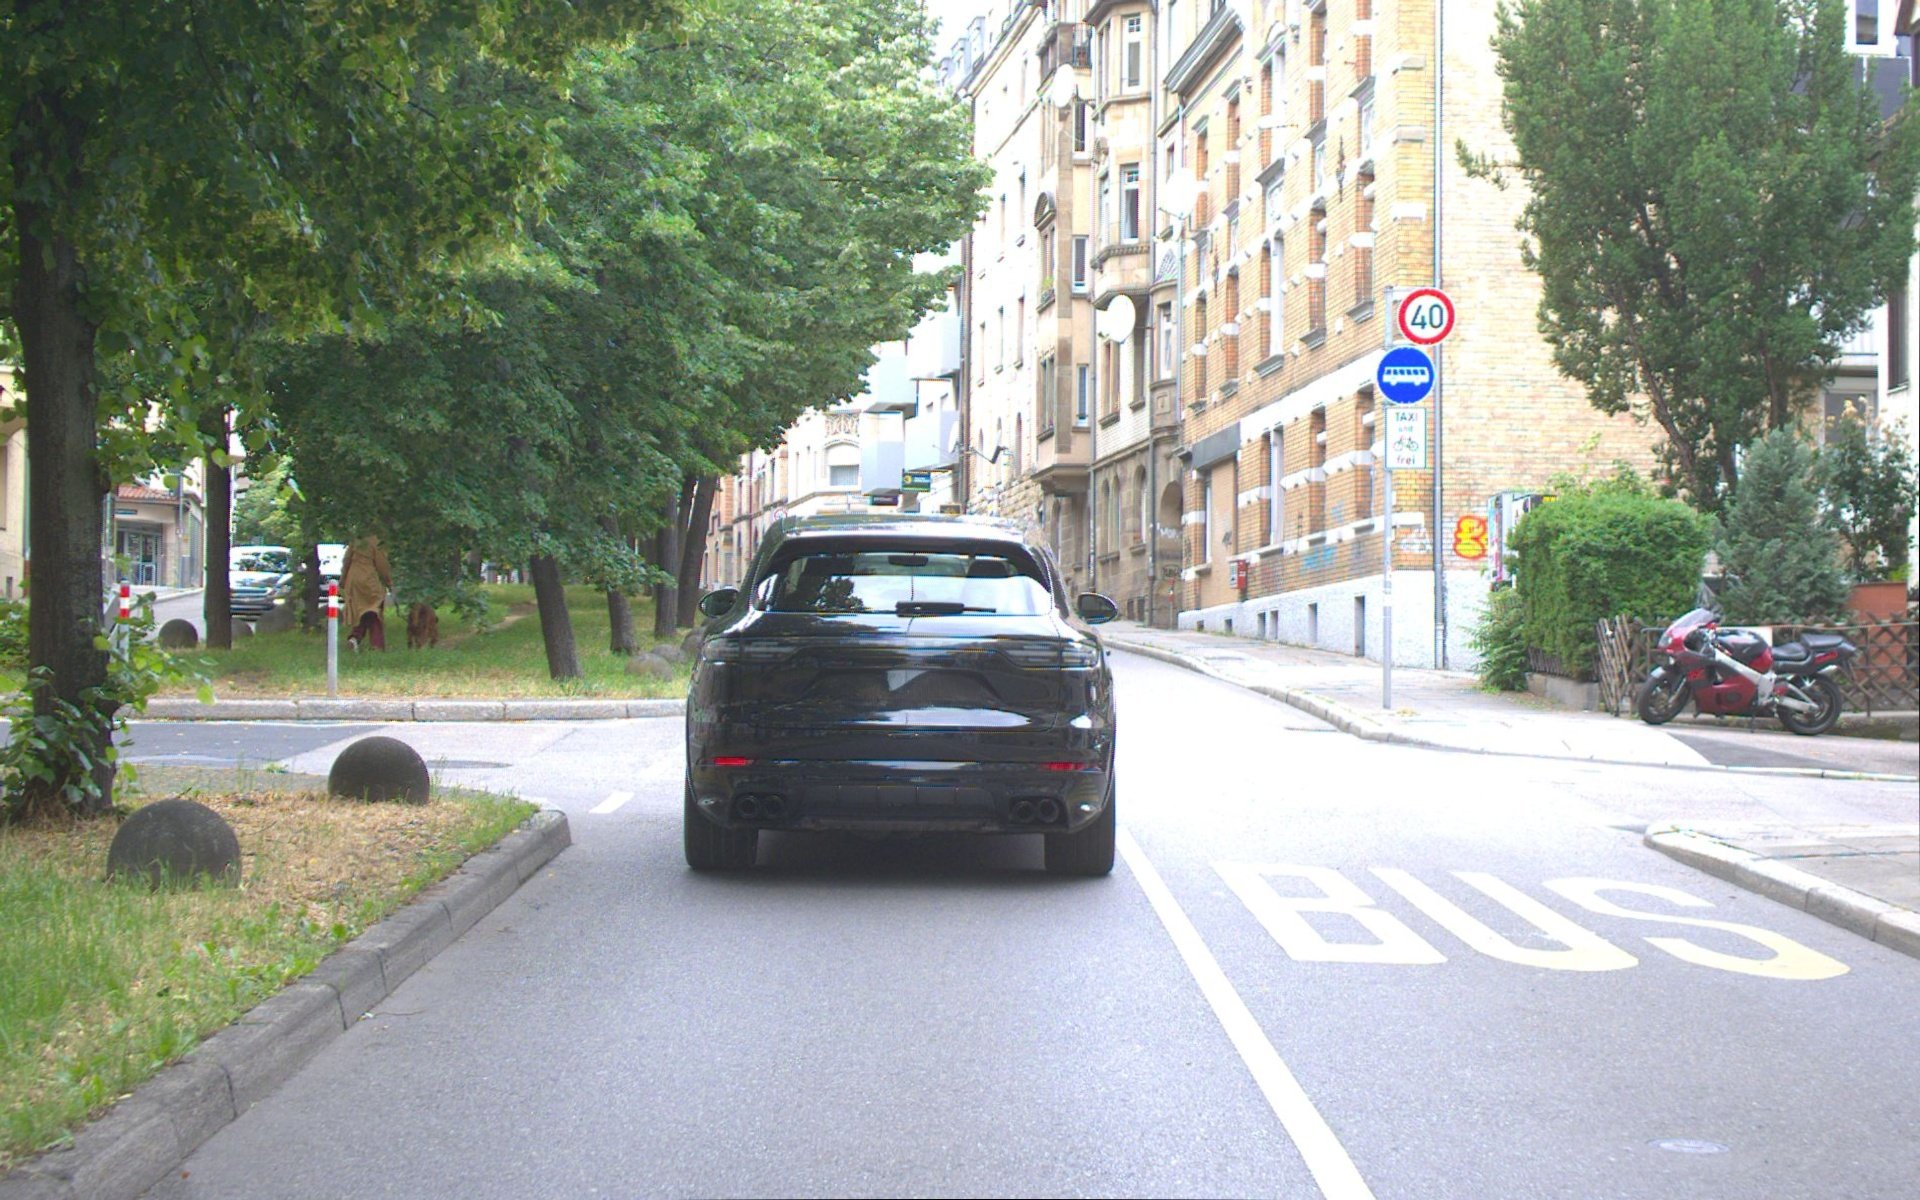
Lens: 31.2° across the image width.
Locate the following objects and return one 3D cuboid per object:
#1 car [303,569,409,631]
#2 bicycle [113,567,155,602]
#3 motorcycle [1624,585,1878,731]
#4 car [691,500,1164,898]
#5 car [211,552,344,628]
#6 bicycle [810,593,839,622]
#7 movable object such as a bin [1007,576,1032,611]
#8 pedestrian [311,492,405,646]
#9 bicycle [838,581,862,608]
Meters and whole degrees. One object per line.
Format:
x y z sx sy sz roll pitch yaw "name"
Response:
-14.849 -0.029 84.699 1.758 1.377 4.669 -1 1 0 "car"
-27.328 -0.518 113.728 0.762 1.081 2.037 3 -2 -29 "bicycle"
7.395 0.535 32.208 2.055 1.263 1.010 2 0 -5 "motorcycle"
-0.228 0.396 16.850 1.993 1.660 4.001 2 1 -3 "car"
-13.572 -0.221 68.610 1.708 1.377 4.669 -1 1 0 "car"
-5.619 0.319 142.820 0.879 1.125 2.980 2 -1 -8 "bicycle"
1.594 -0.170 91.841 0.594 0.901 0.503 1 -4 -6 "movable object such as a bin"
-6.942 -0.347 39.672 0.833 1.706 1.123 -3 -2 -1 "pedestrian"
-3.851 -0.194 120.418 0.286 0.928 1.761 2 -2 -20 "bicycle"
